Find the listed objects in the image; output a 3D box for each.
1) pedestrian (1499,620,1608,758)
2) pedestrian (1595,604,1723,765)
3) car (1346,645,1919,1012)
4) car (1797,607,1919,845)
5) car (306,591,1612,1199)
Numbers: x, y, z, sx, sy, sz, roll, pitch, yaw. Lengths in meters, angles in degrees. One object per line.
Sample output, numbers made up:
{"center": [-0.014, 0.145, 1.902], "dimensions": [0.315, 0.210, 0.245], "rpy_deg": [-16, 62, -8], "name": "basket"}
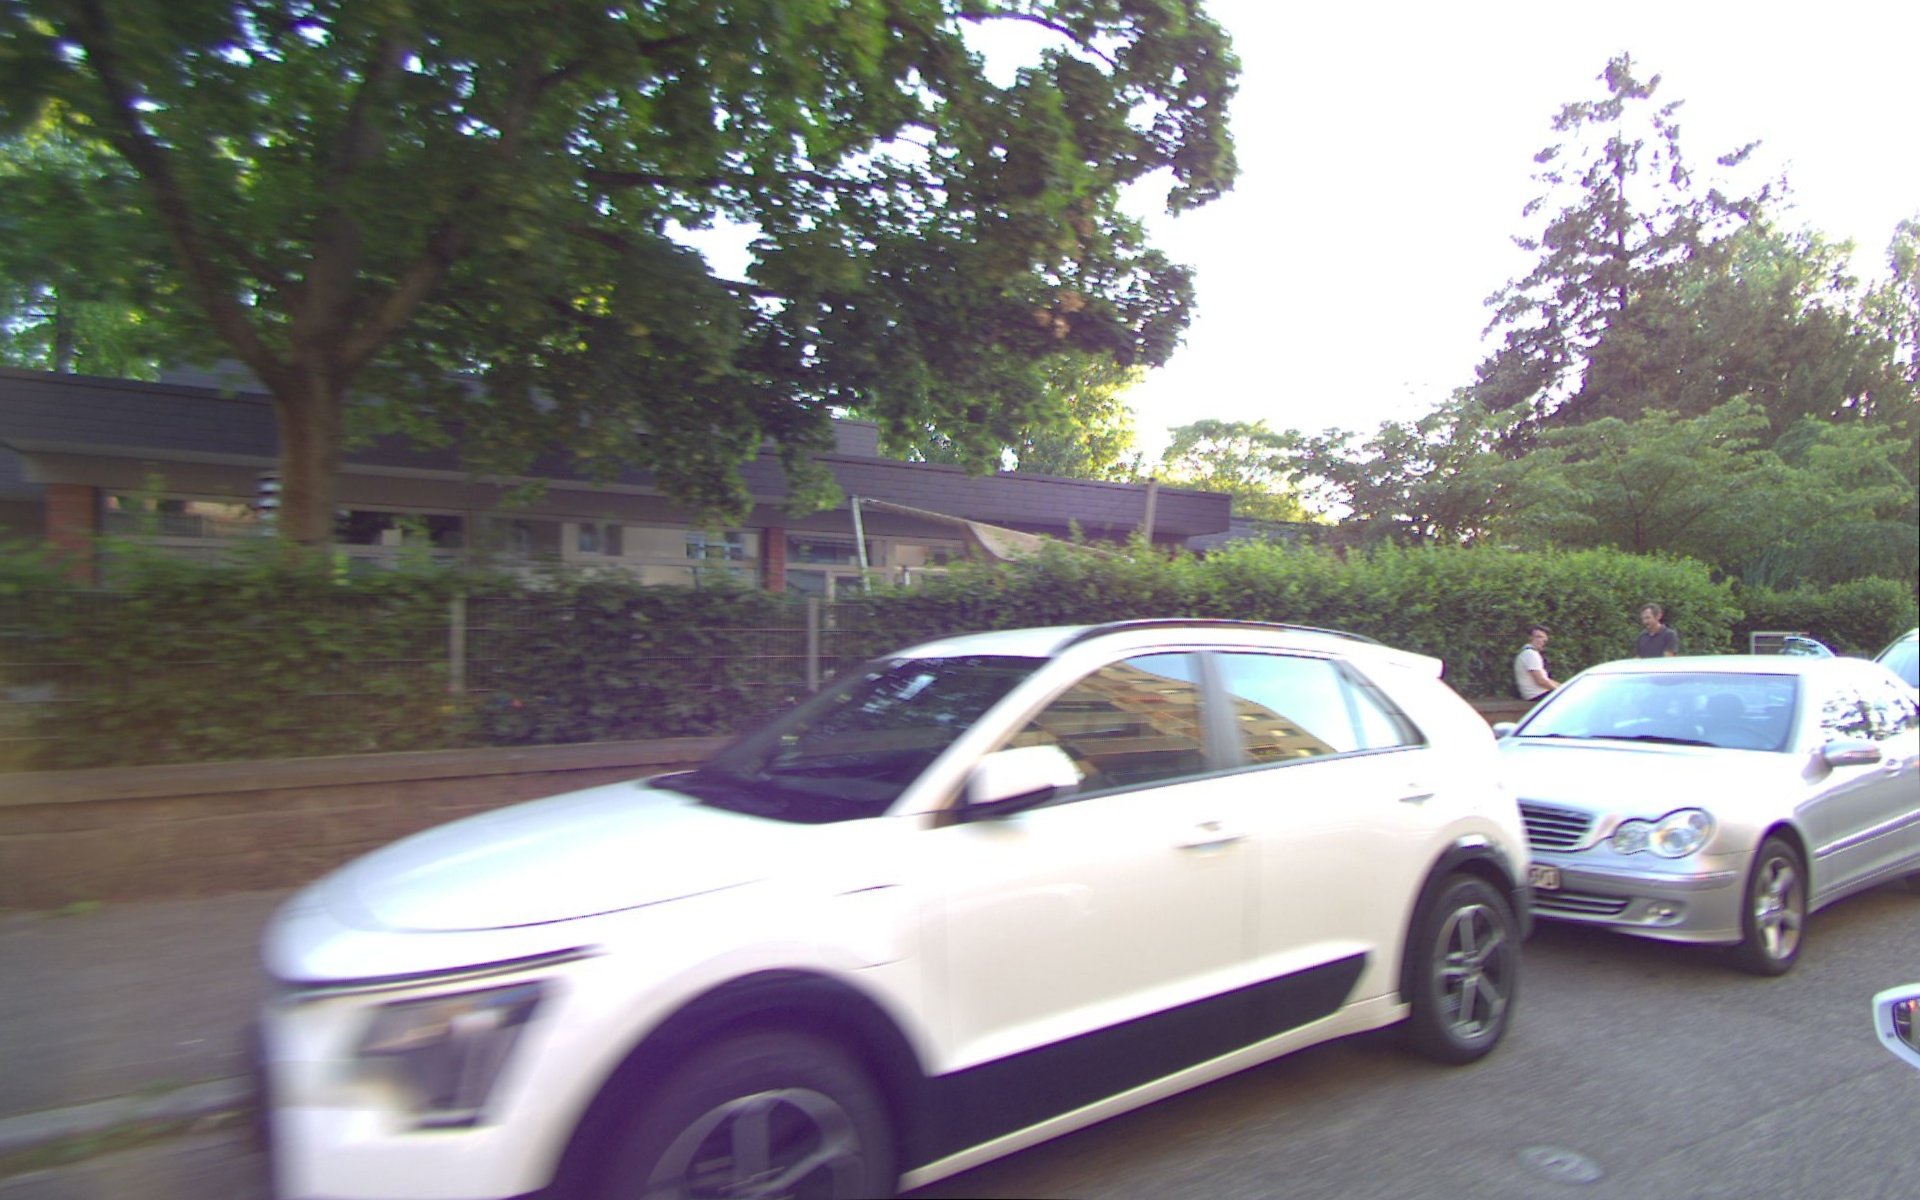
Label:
{"center": [7.032, 1.024, 11.904], "dimensions": [0.892, 1.528, 0.744], "rpy_deg": [1, 1, -32], "name": "pedestrian"}
{"center": [8.053, 0.948, 11.601], "dimensions": [0.737, 1.756, 0.900], "rpy_deg": [2, 1, -10], "name": "pedestrian"}
{"center": [4.348, 0.999, 5.917], "dimensions": [4.241, 1.445, 1.724], "rpy_deg": [1, -3, -33], "name": "car"}
{"center": [8.953, 0.963, 8.463], "dimensions": [4.277, 1.753, 1.724], "rpy_deg": [1, -3, -33], "name": "car"}
{"center": [0.278, 0.851, 3.478], "dimensions": [4.235, 1.563, 1.749], "rpy_deg": [1, -3, -33], "name": "car"}
